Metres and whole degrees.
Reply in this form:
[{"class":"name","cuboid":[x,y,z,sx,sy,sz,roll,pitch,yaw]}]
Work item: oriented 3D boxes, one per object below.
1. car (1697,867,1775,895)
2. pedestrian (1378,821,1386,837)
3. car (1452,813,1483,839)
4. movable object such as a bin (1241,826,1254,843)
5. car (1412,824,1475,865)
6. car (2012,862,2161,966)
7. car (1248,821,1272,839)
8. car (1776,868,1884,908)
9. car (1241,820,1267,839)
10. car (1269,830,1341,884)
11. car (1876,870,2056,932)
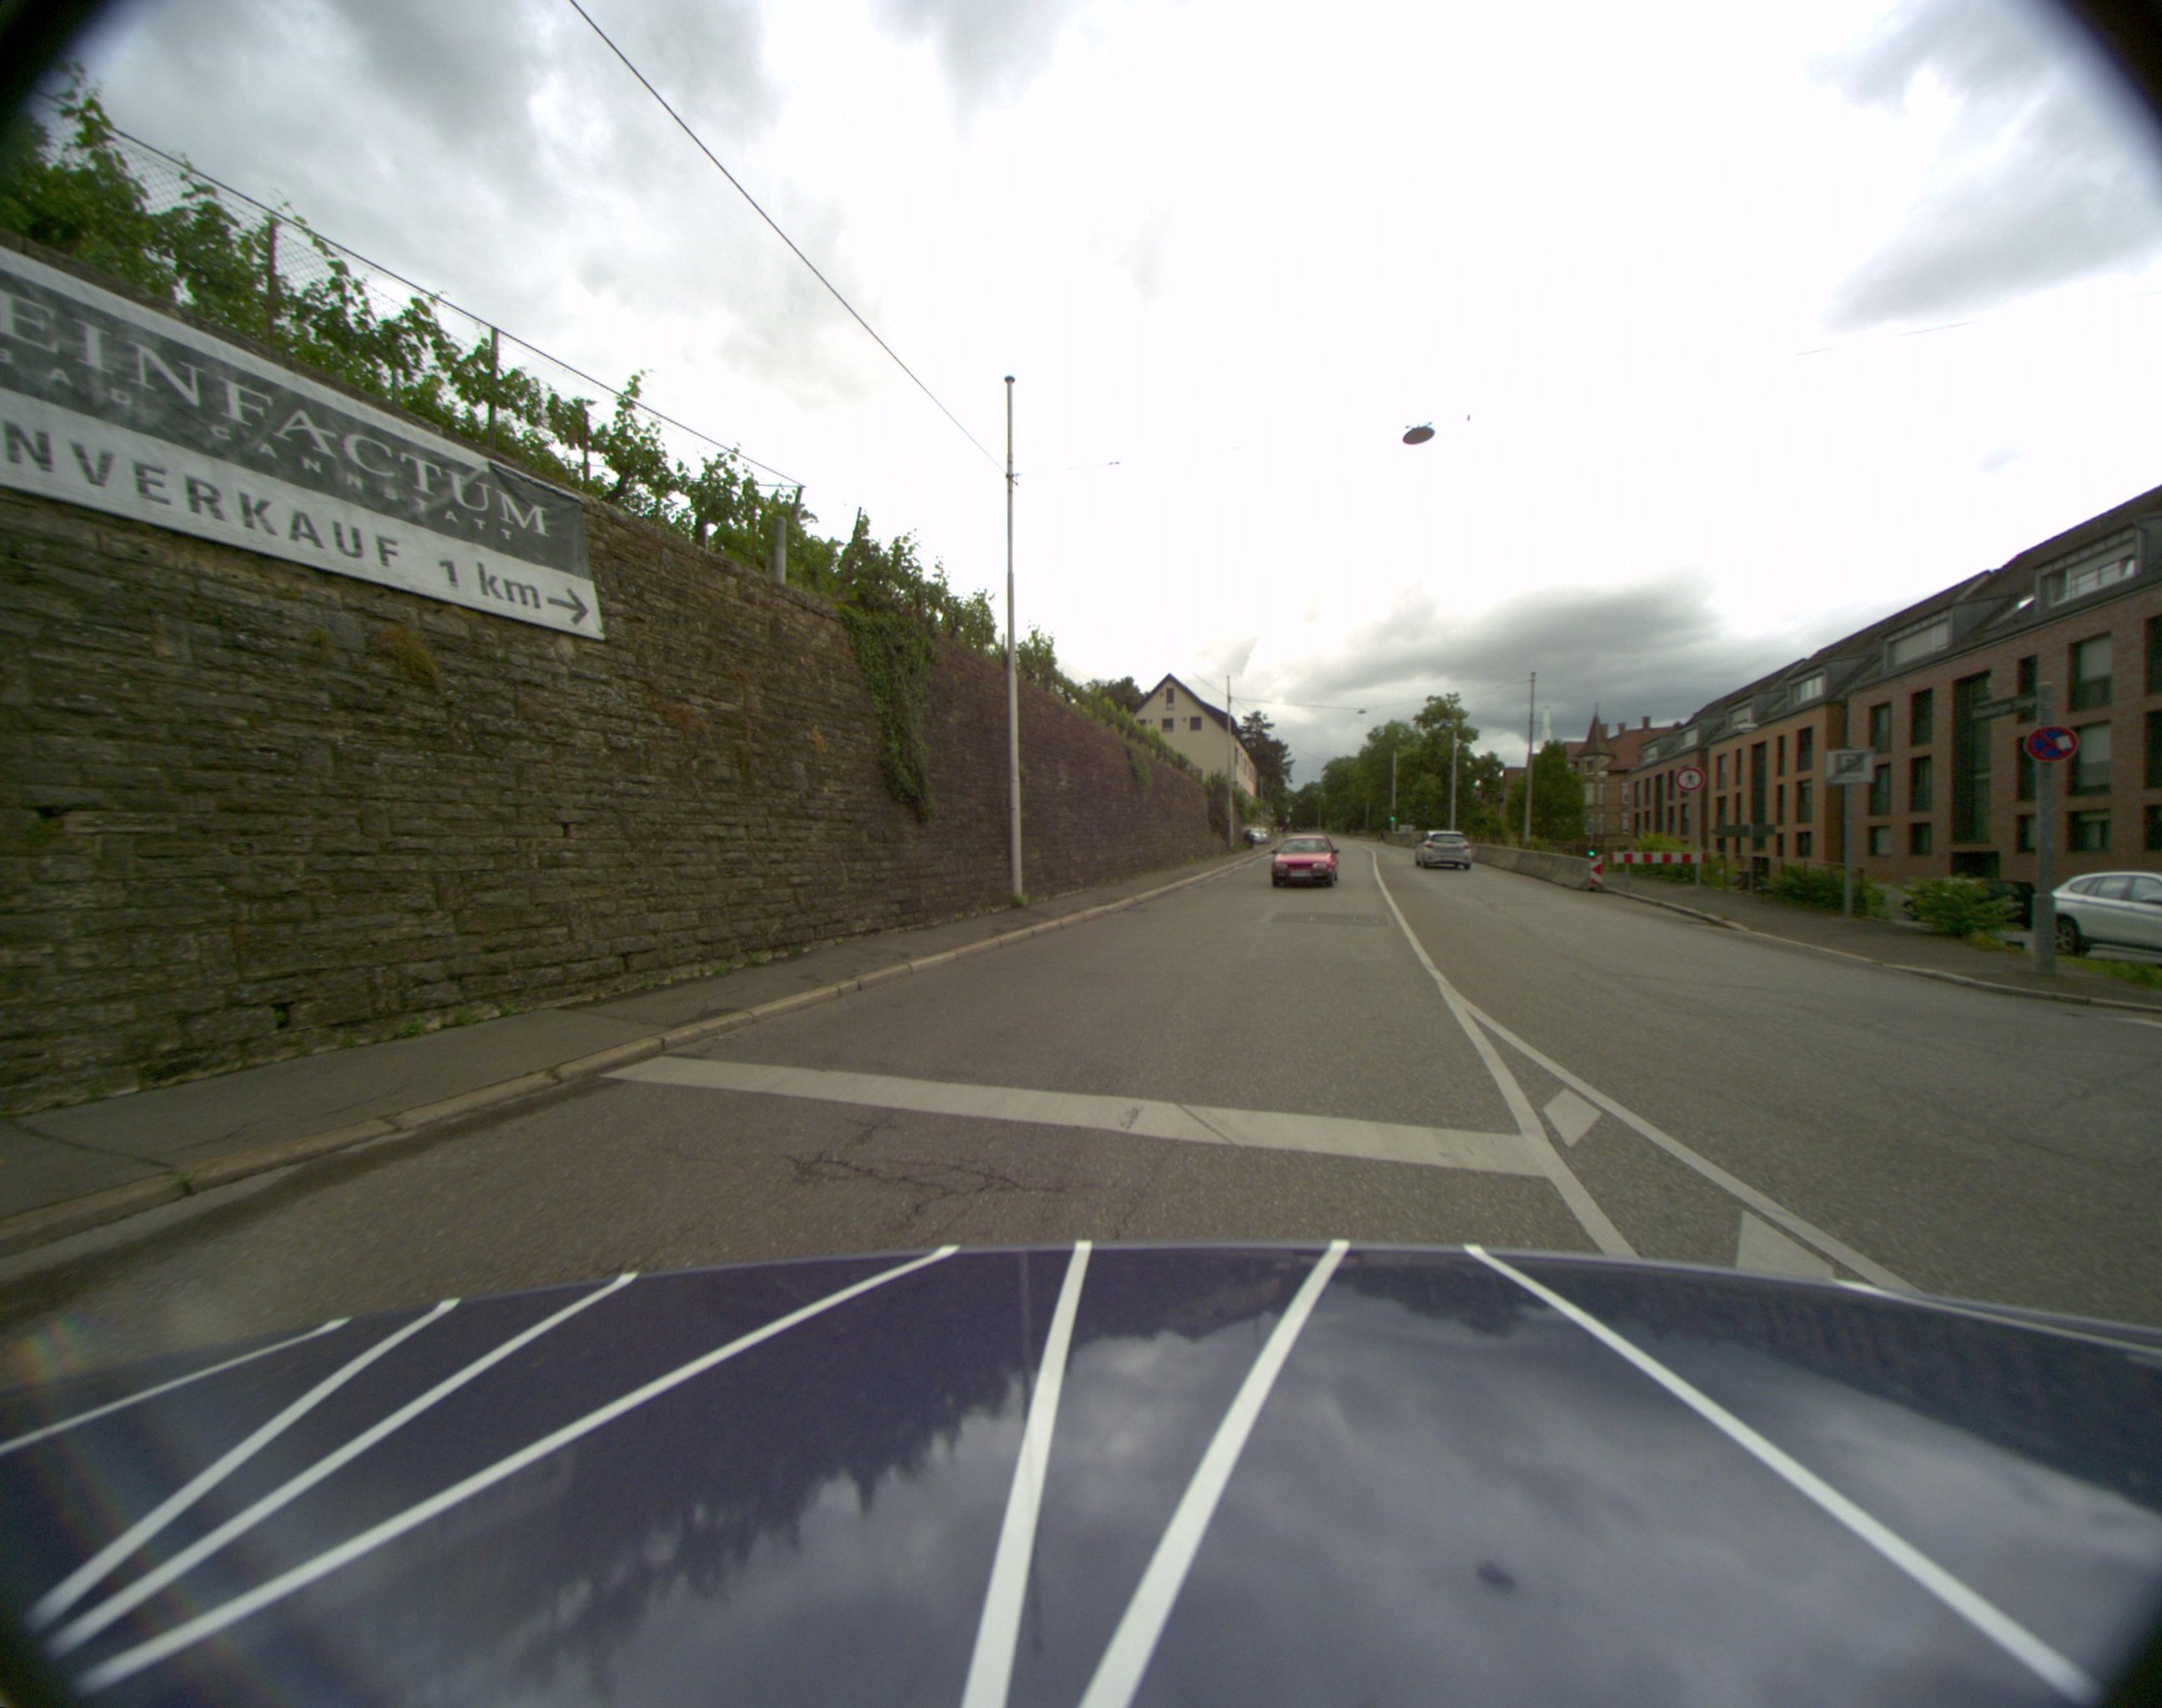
[{"class":"car","cuboid":[36.093,1.434,42.001,1.995,1.303,4.006,2,1,22]},{"class":"pedestrian","cuboid":[32.983,-2.719,83.257,0.734,1.703,0.697,0,3,22]},{"class":"car","cuboid":[41.312,-3.058,81.368,2.561,2.568,5.742,-1,3,22]},{"class":"movable object such as a bin","cuboid":[11.204,-1.335,51.113,0.810,1.120,0.876,0,3,18]},{"class":"car","cuboid":[14.349,-0.374,30.286,1.671,1.459,3.648,3,1,17]},{"class":"car","cuboid":[18.289,0.983,12.470,1.829,1.505,4.428,0,2,21]},{"class":"car","cuboid":[16.839,-2.305,71.454,1.729,1.566,4.253,-1,3,19]},{"class":"car","cuboid":[34.153,1.495,34.812,1.995,1.478,4.005,2,2,20]},{"class":"car","cuboid":[15.329,-2.171,67.318,1.796,1.566,4.059,-1,3,19]},{"class":"car","cuboid":[6.646,0.016,22.252,1.643,1.430,4.005,0,2,22]},{"class":"car","cuboid":[29.101,1.458,25.212,1.996,1.652,4.004,2,2,17]}]
